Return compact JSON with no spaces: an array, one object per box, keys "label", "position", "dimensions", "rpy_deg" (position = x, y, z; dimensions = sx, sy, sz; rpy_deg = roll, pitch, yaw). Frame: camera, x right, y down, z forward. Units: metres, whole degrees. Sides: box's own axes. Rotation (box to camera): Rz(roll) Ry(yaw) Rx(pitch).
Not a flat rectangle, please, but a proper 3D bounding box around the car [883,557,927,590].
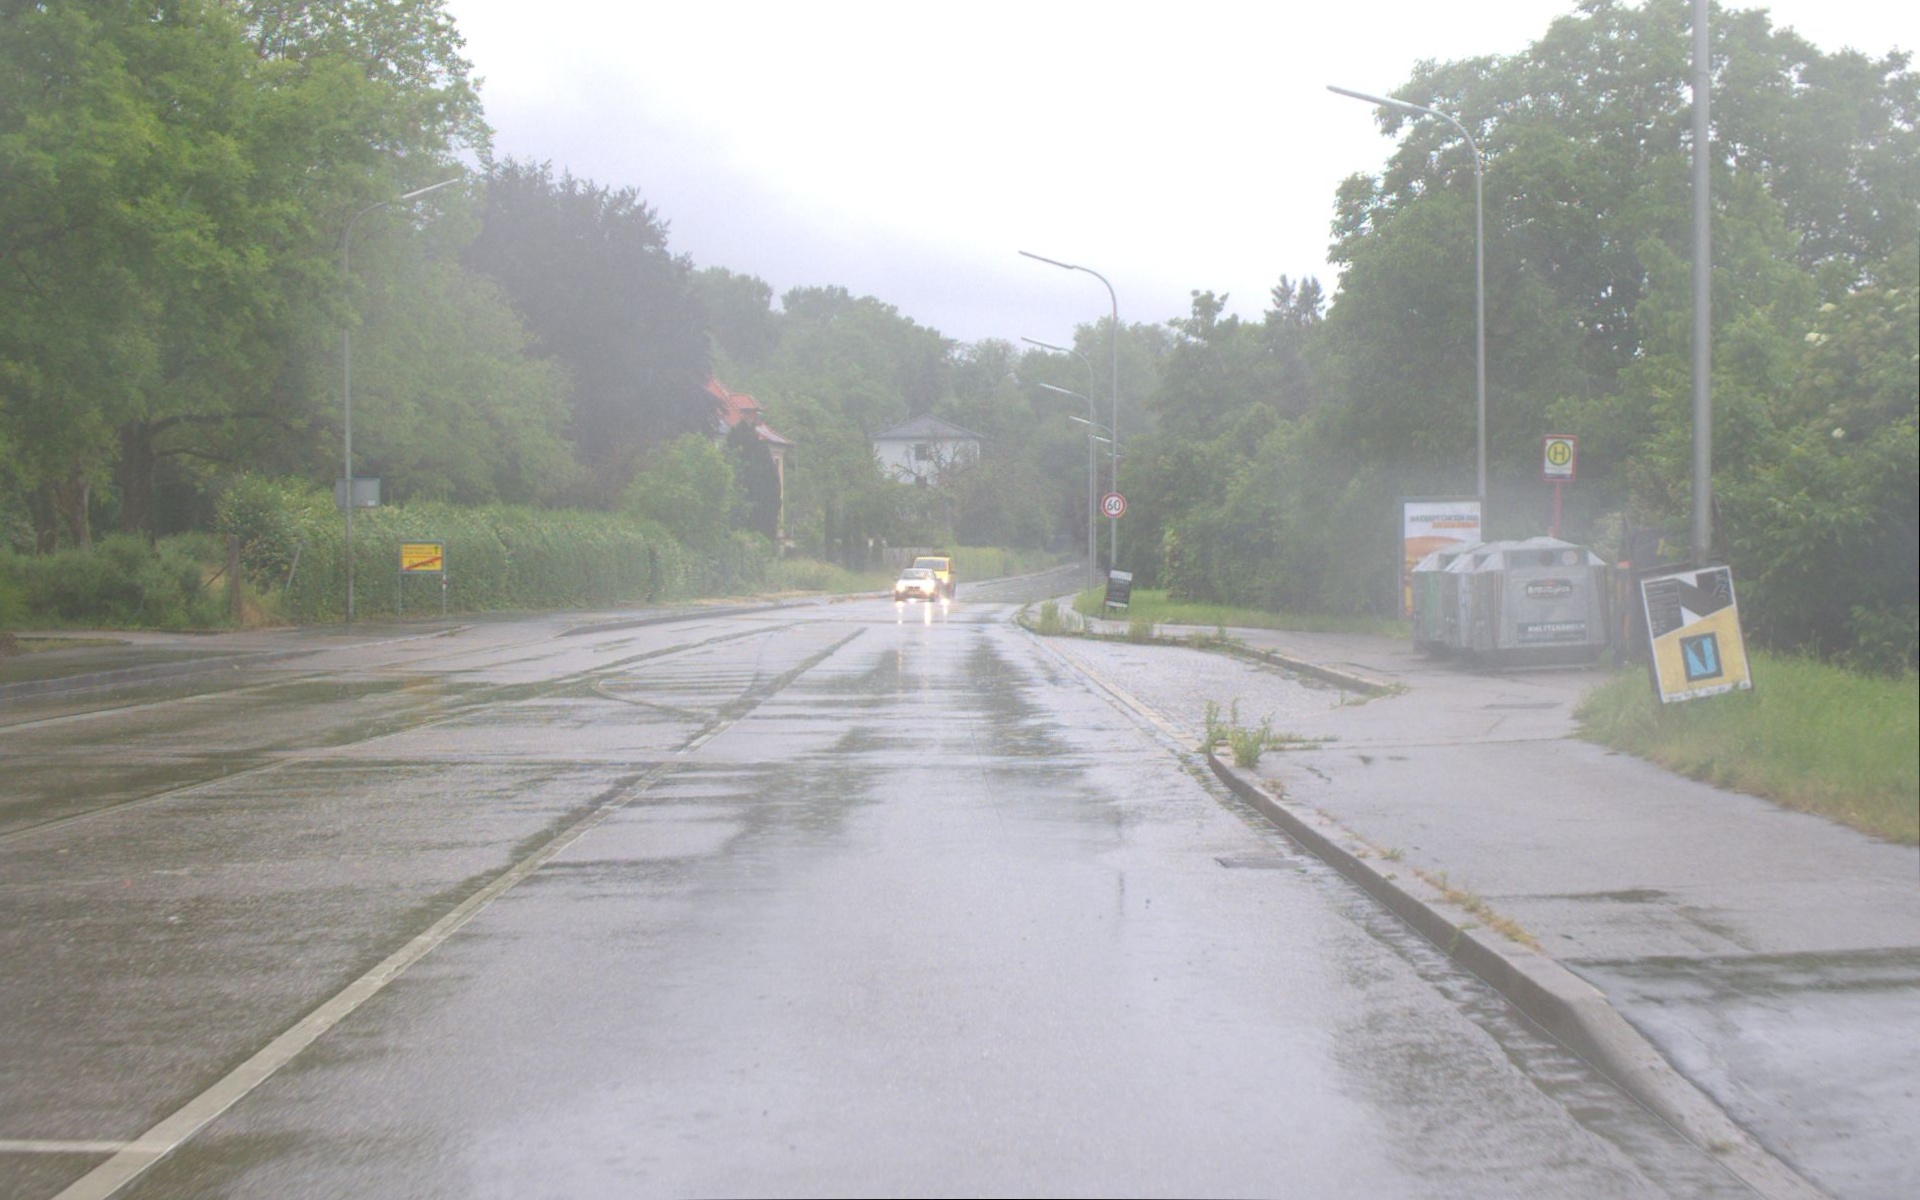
[{"label":"car","position":[-2.276,-1.126,142.732],"dimensions":[1.701,1.345,3.905],"rpy_deg":[0,1,1]}]
